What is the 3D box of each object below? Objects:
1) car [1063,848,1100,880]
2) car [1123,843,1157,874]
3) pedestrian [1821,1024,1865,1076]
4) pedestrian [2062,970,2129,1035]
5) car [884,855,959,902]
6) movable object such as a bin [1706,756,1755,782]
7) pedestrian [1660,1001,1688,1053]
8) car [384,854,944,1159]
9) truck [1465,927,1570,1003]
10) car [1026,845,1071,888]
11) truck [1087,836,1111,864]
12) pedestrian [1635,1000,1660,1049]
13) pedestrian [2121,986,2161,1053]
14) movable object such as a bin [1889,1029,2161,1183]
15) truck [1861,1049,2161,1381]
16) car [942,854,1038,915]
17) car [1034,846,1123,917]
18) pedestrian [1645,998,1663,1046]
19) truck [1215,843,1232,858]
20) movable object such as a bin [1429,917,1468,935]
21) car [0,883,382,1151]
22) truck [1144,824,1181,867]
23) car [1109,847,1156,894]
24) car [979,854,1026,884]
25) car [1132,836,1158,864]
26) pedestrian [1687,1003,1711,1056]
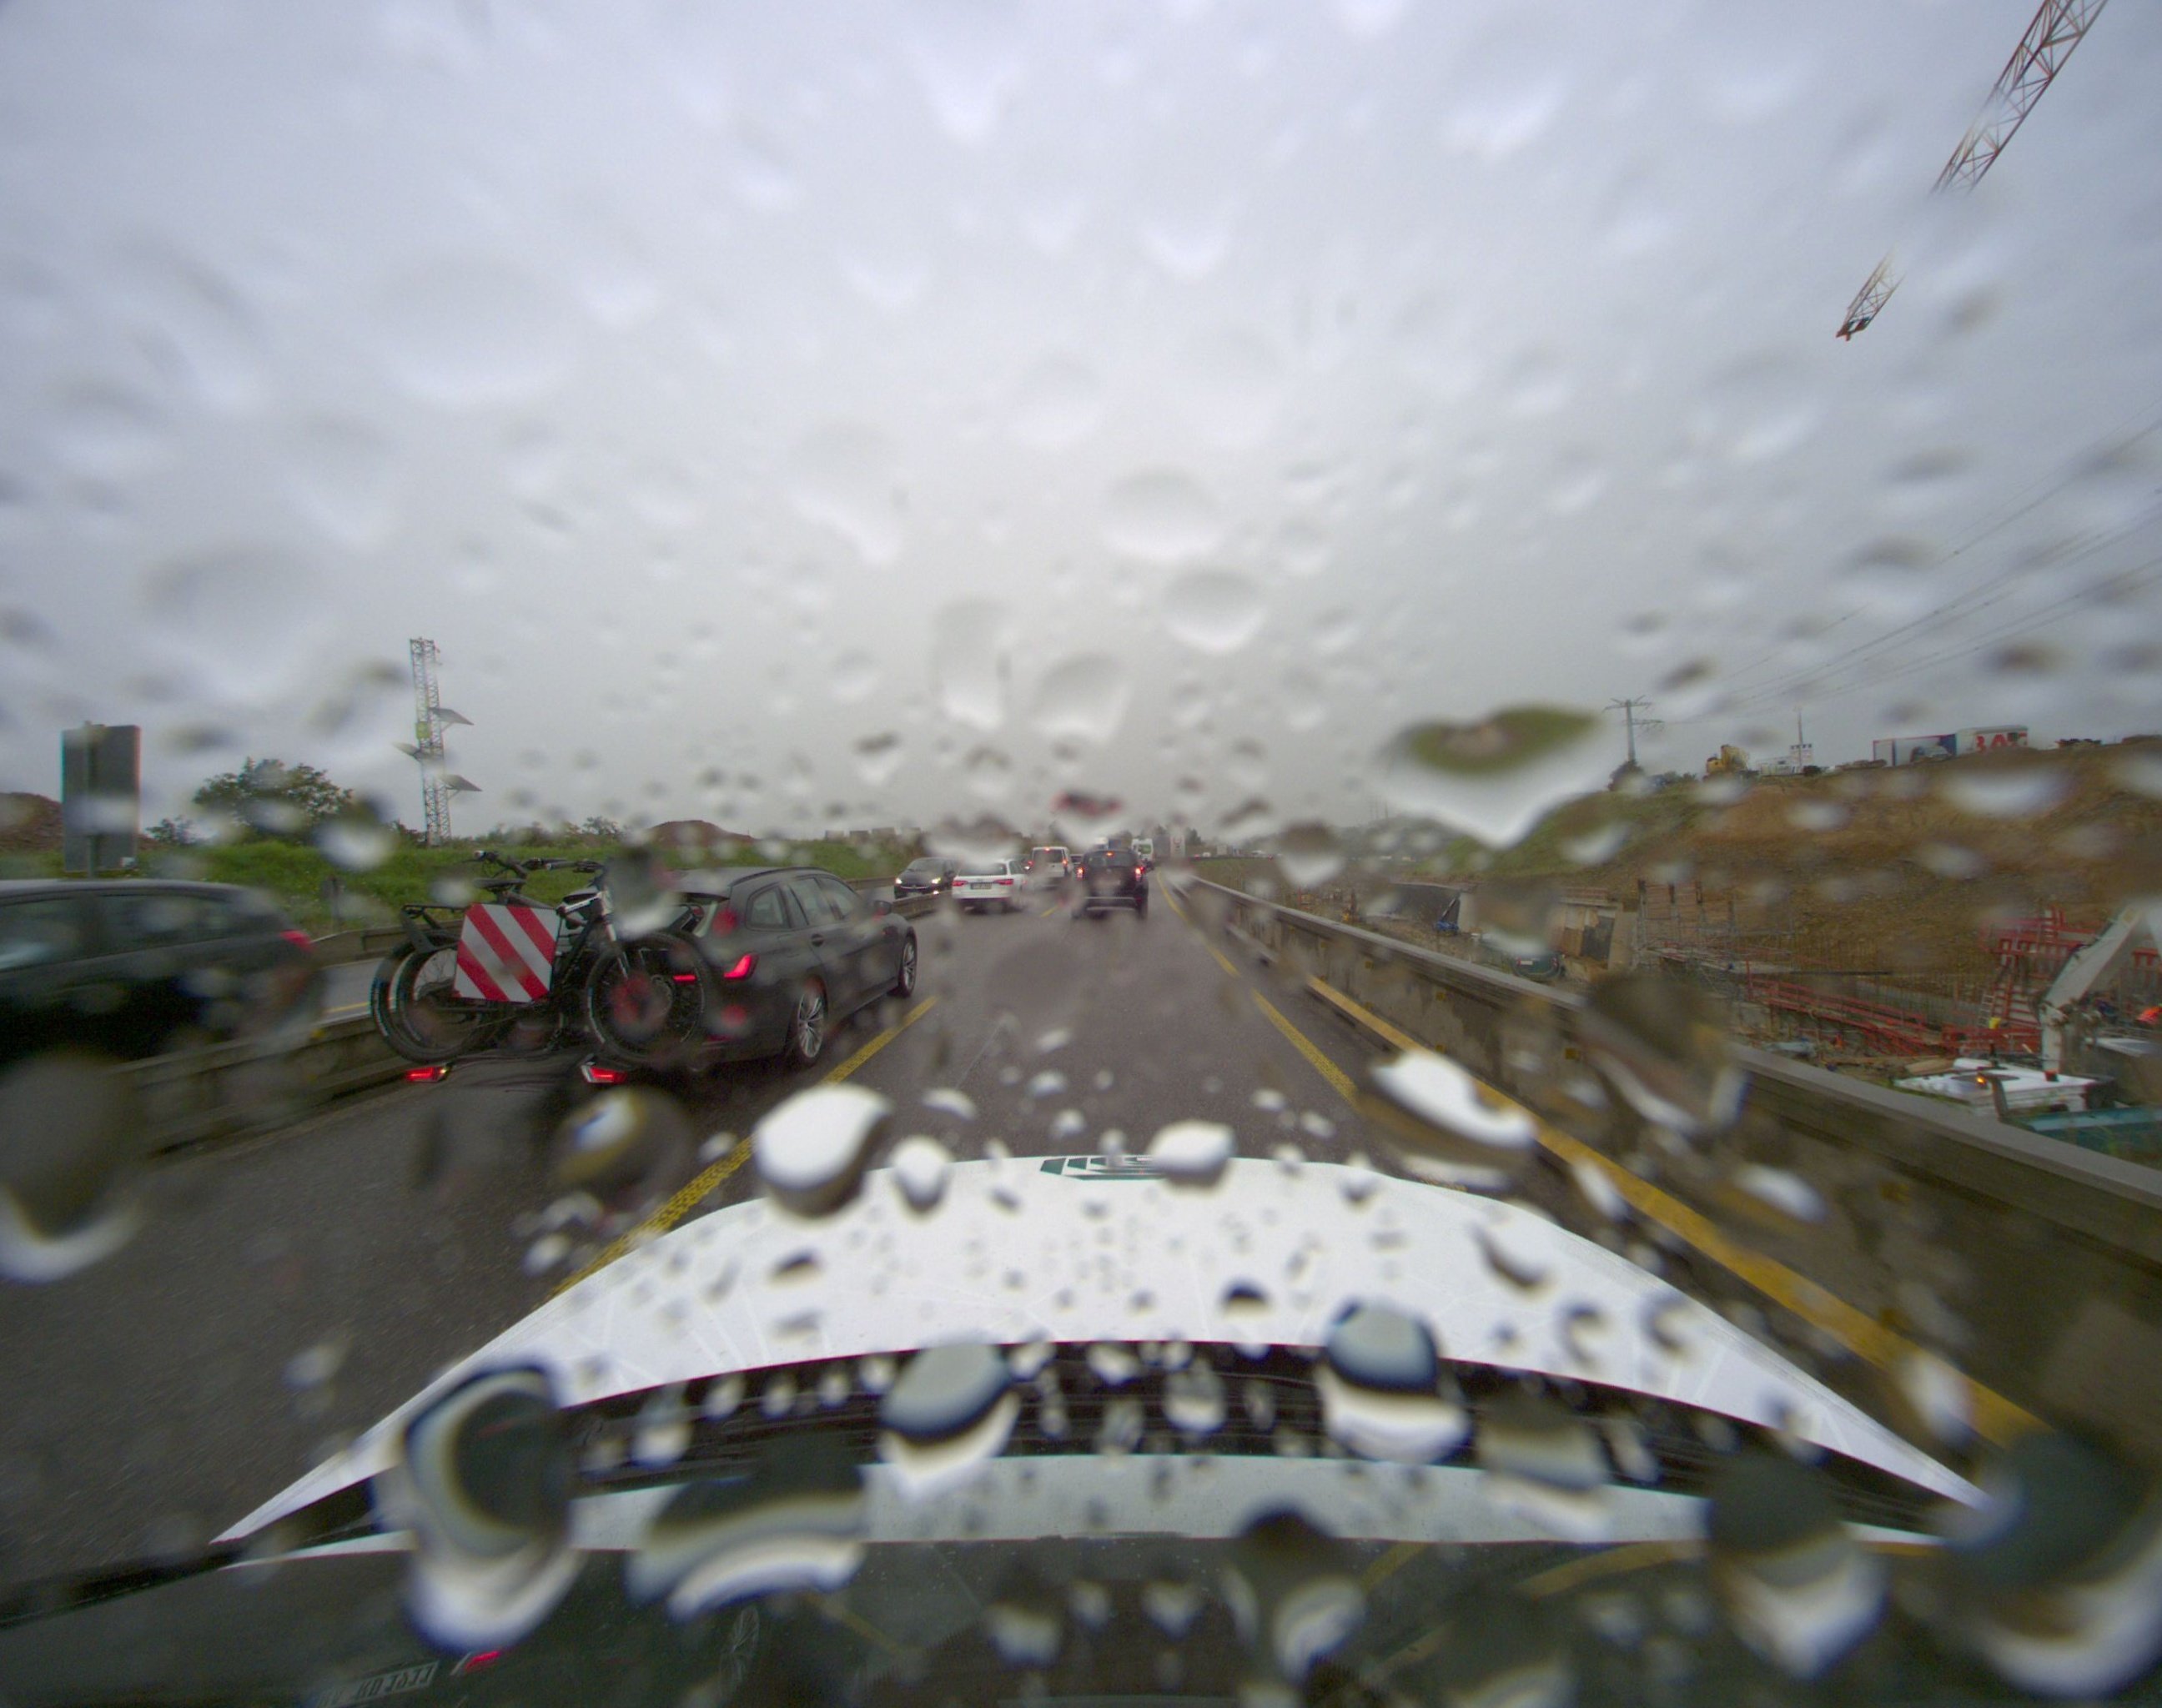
[{"bbox_3d":[0.080,0.576,48.465,1.818,1.815,4.005,0,-1,5],"label":"car"},{"bbox_3d":[3.586,0.283,48.960,1.816,1.815,4.008,0,-1,7],"label":"car"},{"bbox_3d":[34.537,8.885,36.931,0.891,1.999,0.907,10,0,7],"label":"pedestrian"},{"bbox_3d":[35.501,5.177,28.511,0.898,1.999,0.901,10,0,8],"label":"pedestrian"},{"bbox_3d":[-5.397,0.779,27.966,1.659,1.466,3.734,0,0,3],"label":"car"},{"bbox_3d":[67.825,-8.844,85.147,2.413,2.443,3.981,0,1,11],"label":"movable object such as a bin"},{"bbox_3d":[24.329,7.068,33.429,0.576,1.944,0.729,0,-1,-25],"label":"pedestrian"},{"bbox_3d":[-2.682,0.808,7.122,1.727,1.462,5.634,0,1,3],"label":"car"},{"bbox_3d":[26.403,6.566,49.821,2.714,3.491,9.085,0,-1,8],"label":"truck"},{"bbox_3d":[-1.395,0.534,36.285,1.820,1.815,3.999,0,-1,0],"label":"car"},{"bbox_3d":[2.710,-0.594,119.901,2.772,4.034,5.835,0,1,9],"label":"truck"},{"bbox_3d":[23.862,7.176,34.301,0.570,1.869,0.737,0,-1,10],"label":"pedestrian"},{"bbox_3d":[35.230,5.465,26.672,0.898,1.999,0.901,10,0,8],"label":"pedestrian"},{"bbox_3d":[22.266,5.848,19.373,3.136,2.738,2.971,0,-1,3],"label":"movable object such as a bin"},{"bbox_3d":[16.135,5.459,11.145,2.688,3.503,8.954,0,-1,3],"label":"truck"},{"bbox_3d":[-2.369,0.784,22.216,1.817,1.499,4.005,0,-1,5],"label":"car"},{"bbox_3d":[0.037,0.635,20.179,1.817,1.591,4.006,0,-1,5],"label":"car"},{"bbox_3d":[24.586,7.182,34.944,0.568,1.869,0.740,-1,-1,40],"label":"pedestrian"},{"bbox_3d":[38.443,-0.954,219.395,3.445,3.715,8.455,-1,0,17],"label":"truck"},{"bbox_3d":[43.974,8.609,97.428,2.007,2.014,3.801,3,-4,-33],"label":"movable object such as a bin"},{"bbox_3d":[-6.841,0.941,4.711,1.603,1.443,4.463,0,-1,2],"label":"car"},{"bbox_3d":[10.133,-0.922,100.578,3.521,5.077,10.473,0,-1,11],"label":"truck"},{"bbox_3d":[2.081,0.663,33.390,1.819,1.815,4.002,0,-1,2],"label":"car"},{"bbox_3d":[-4.353,0.778,45.879,1.910,1.585,4.898,0,0,3],"label":"car"},{"bbox_3d":[5.757,-0.309,73.135,1.814,2.437,4.170,0,-1,11],"label":"car"},{"bbox_3d":[24.868,7.059,32.764,0.726,1.944,0.579,-1,-1,41],"label":"pedestrian"}]
